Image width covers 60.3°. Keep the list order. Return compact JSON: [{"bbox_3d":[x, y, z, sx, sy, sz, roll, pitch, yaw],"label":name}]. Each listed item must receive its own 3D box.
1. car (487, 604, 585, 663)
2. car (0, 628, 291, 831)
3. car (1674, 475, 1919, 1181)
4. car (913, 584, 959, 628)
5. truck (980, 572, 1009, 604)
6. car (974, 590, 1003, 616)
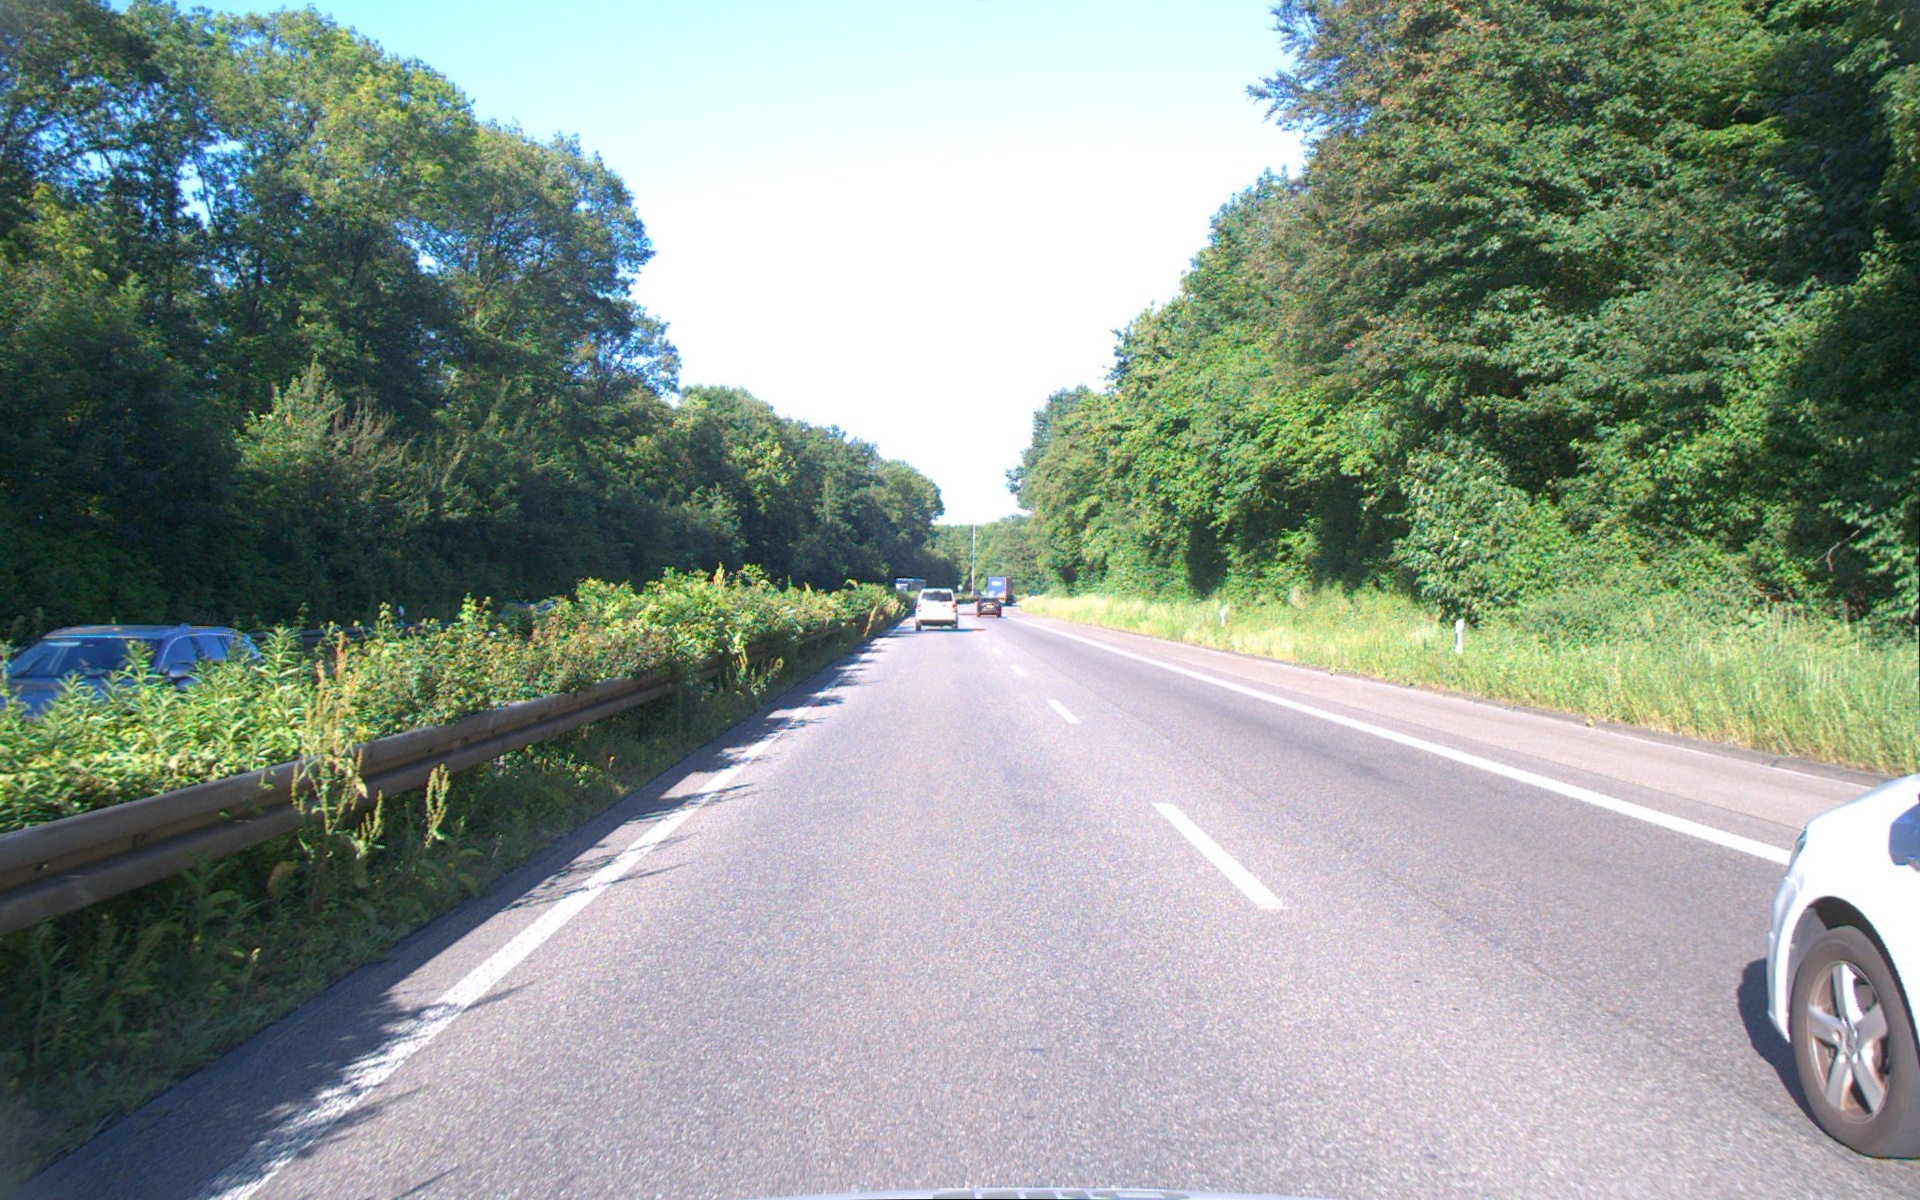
[{"bbox_3d":[-12.042,0.922,47.229,1.809,1.602,3.999,1,0,-1],"label":"car"},{"bbox_3d":[-8.352,1.134,16.318,1.678,1.633,4.584,1,0,-1],"label":"car"},{"bbox_3d":[3.416,0.605,3.475,1.762,1.844,4.586,1,0,-1],"label":"car"},{"bbox_3d":[-1.042,0.252,71.893,1.912,1.813,4.586,1,0,-1],"label":"car"},{"bbox_3d":[4.921,-1.639,233.229,3.656,4.419,9.308,1,0,3],"label":"truck"},{"bbox_3d":[2.057,0.198,120.347,1.912,1.813,4.586,1,0,-1],"label":"car"}]
